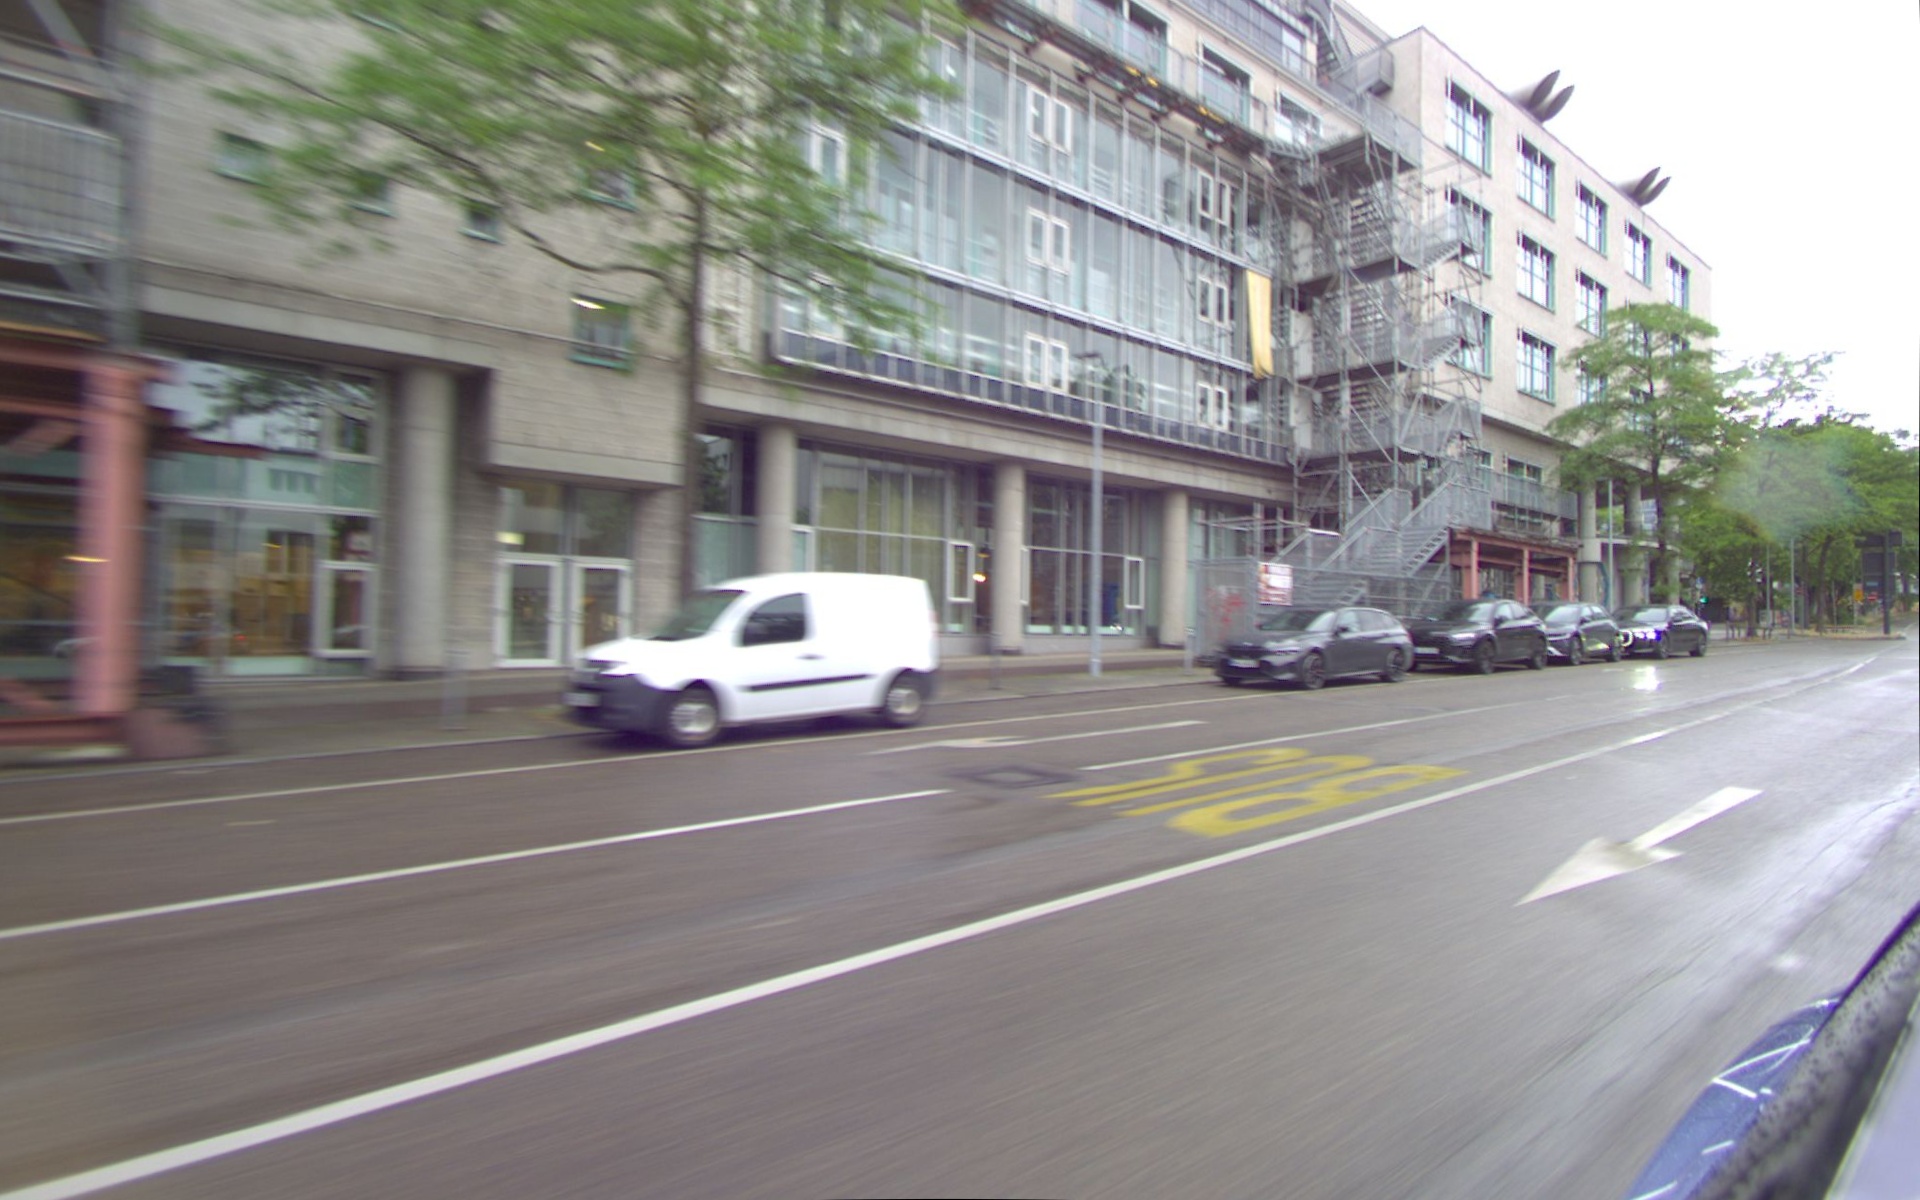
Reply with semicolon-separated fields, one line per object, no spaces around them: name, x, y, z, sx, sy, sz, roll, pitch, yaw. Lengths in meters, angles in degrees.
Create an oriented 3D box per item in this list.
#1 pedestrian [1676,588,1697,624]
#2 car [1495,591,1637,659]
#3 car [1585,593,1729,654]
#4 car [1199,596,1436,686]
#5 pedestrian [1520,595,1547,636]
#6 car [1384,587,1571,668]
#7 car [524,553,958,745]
pedestrian;41.744;0.320;58.152;0.746;2.039;0.869;1;-1;-44
car;15.866;0.616;26.404;4.512;1.621;1.865;1;0;-41
car;20.598;0.653;29.815;5.191;1.621;1.999;1;0;-37
car;6.707;0.691;18.718;4.831;1.456;1.873;1;0;-39
pedestrian;23.084;0.611;40.709;0.908;1.616;0.704;1;-1;-42
car;11.825;0.571;23.005;4.773;1.667;1.998;1;0;-39
car;-2.350;0.459;11.562;4.447;1.772;1.997;0;0;-41
